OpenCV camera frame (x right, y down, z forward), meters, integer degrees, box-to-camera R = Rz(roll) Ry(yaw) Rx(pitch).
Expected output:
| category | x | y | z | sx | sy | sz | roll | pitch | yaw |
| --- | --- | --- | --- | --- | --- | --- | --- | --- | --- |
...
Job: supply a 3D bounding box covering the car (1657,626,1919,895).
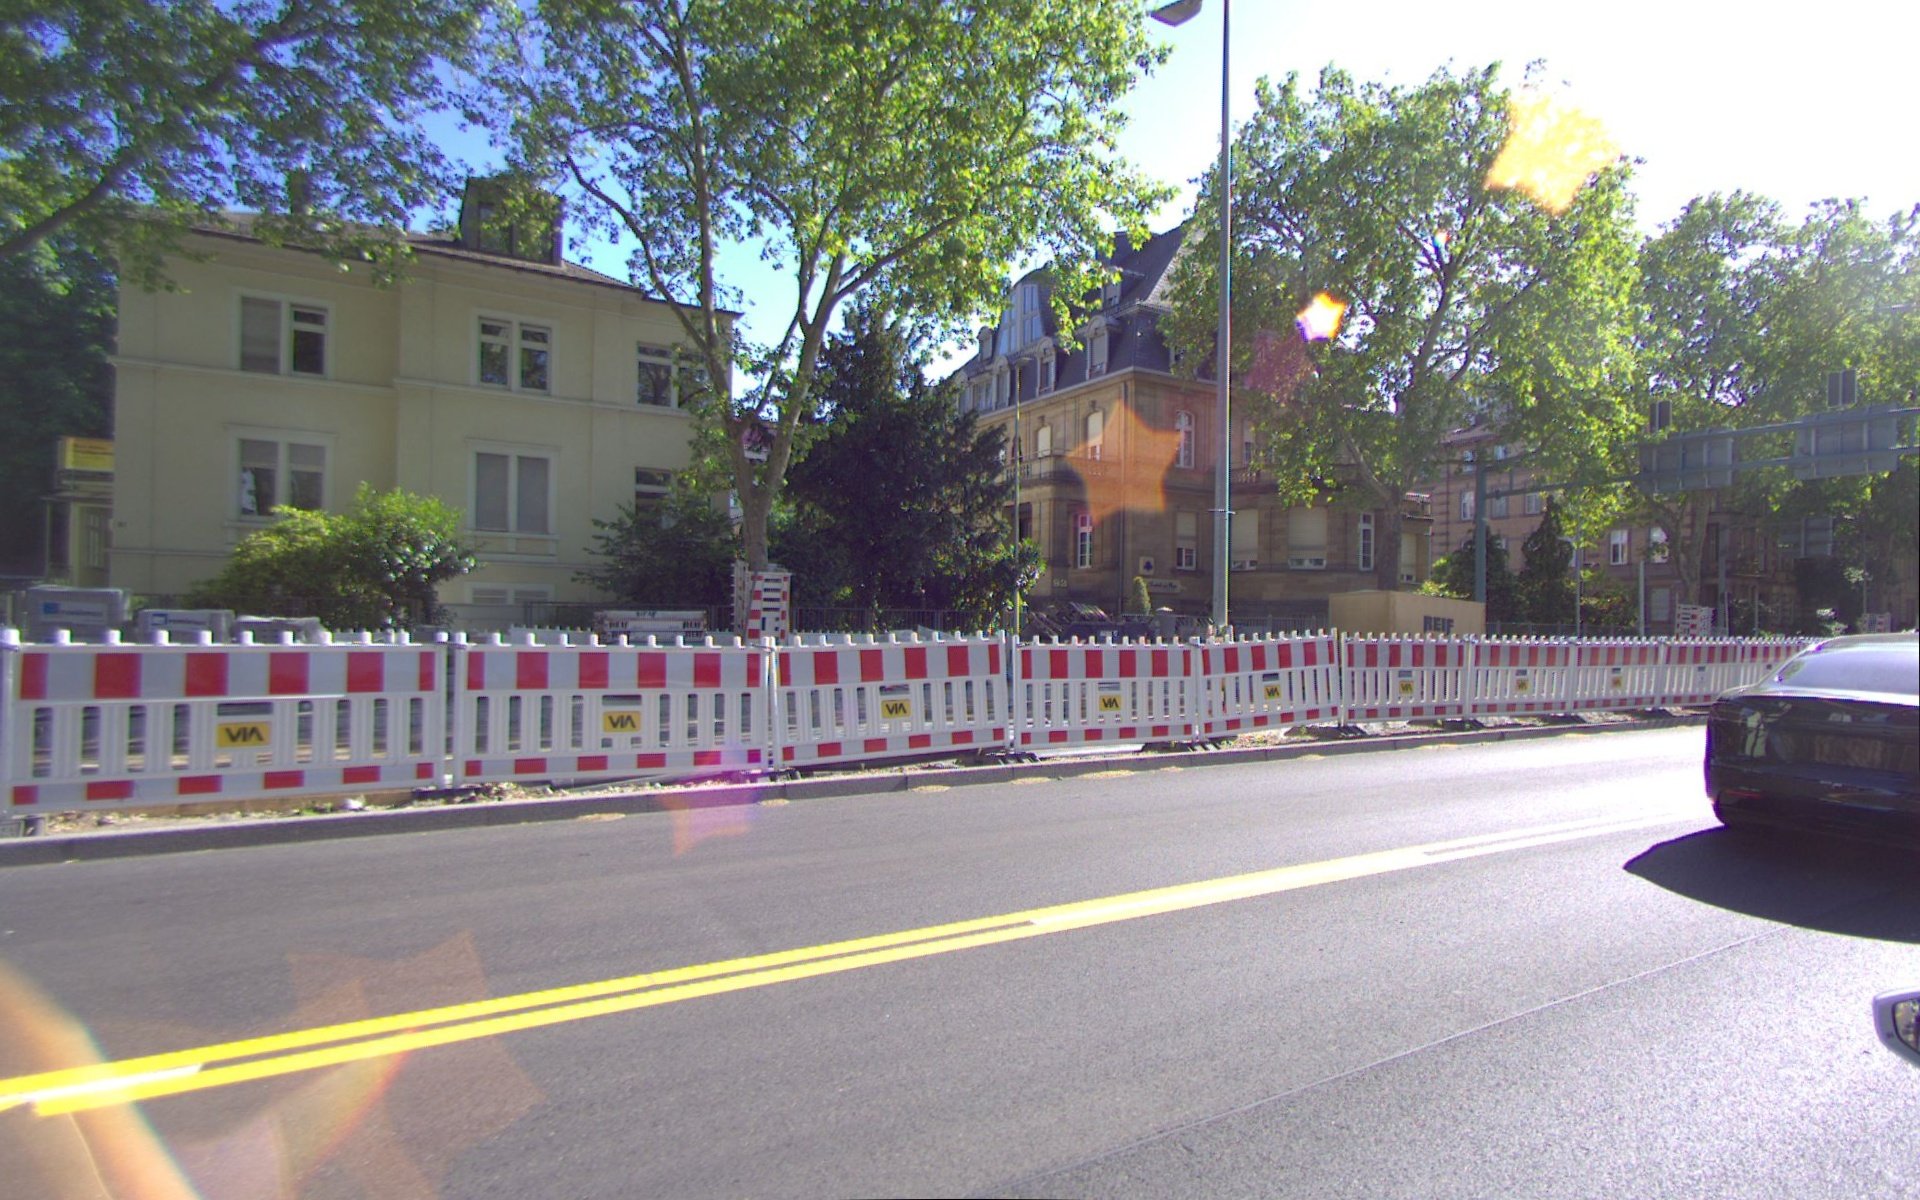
| category | x | y | z | sx | sy | sz | roll | pitch | yaw |
| --- | --- | --- | --- | --- | --- | --- | --- | --- | --- |
| car | 7.127 | 0.948 | 7.037 | 4.571 | 1.431 | 1.916 | 1 | 1 | -30 |
